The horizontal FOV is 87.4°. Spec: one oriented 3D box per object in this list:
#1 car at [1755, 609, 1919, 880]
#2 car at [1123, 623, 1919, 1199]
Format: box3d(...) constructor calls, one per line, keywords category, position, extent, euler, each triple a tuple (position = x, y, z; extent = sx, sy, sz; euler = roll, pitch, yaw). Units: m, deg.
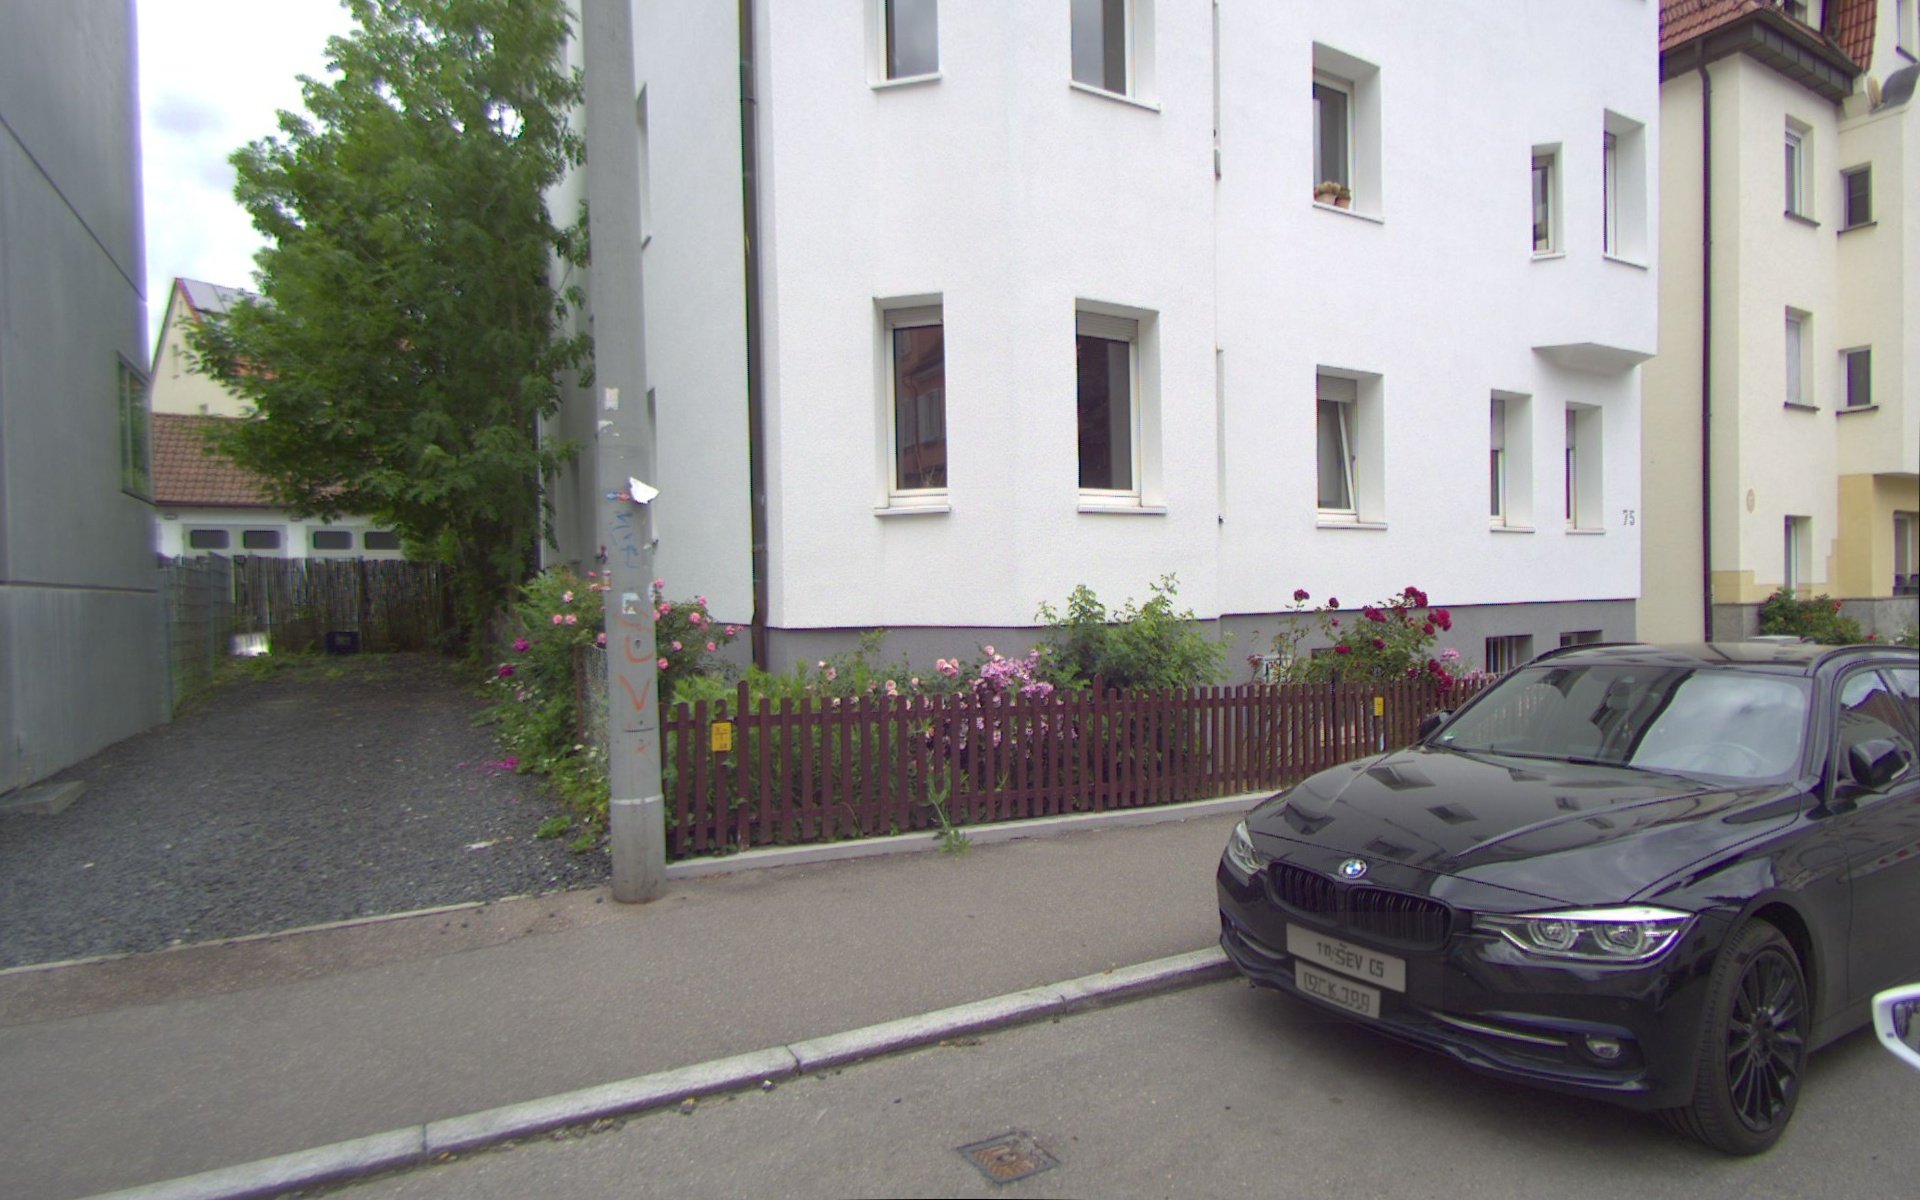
box3d(category="car", position=(7.679, 0.928, 7.204), extent=(4.240, 1.652, 1.834), euler=(1, -1, -33))
box3d(category="car", position=(3.014, 0.870, 4.296), extent=(4.452, 1.476, 1.836), euler=(2, -2, -31))
